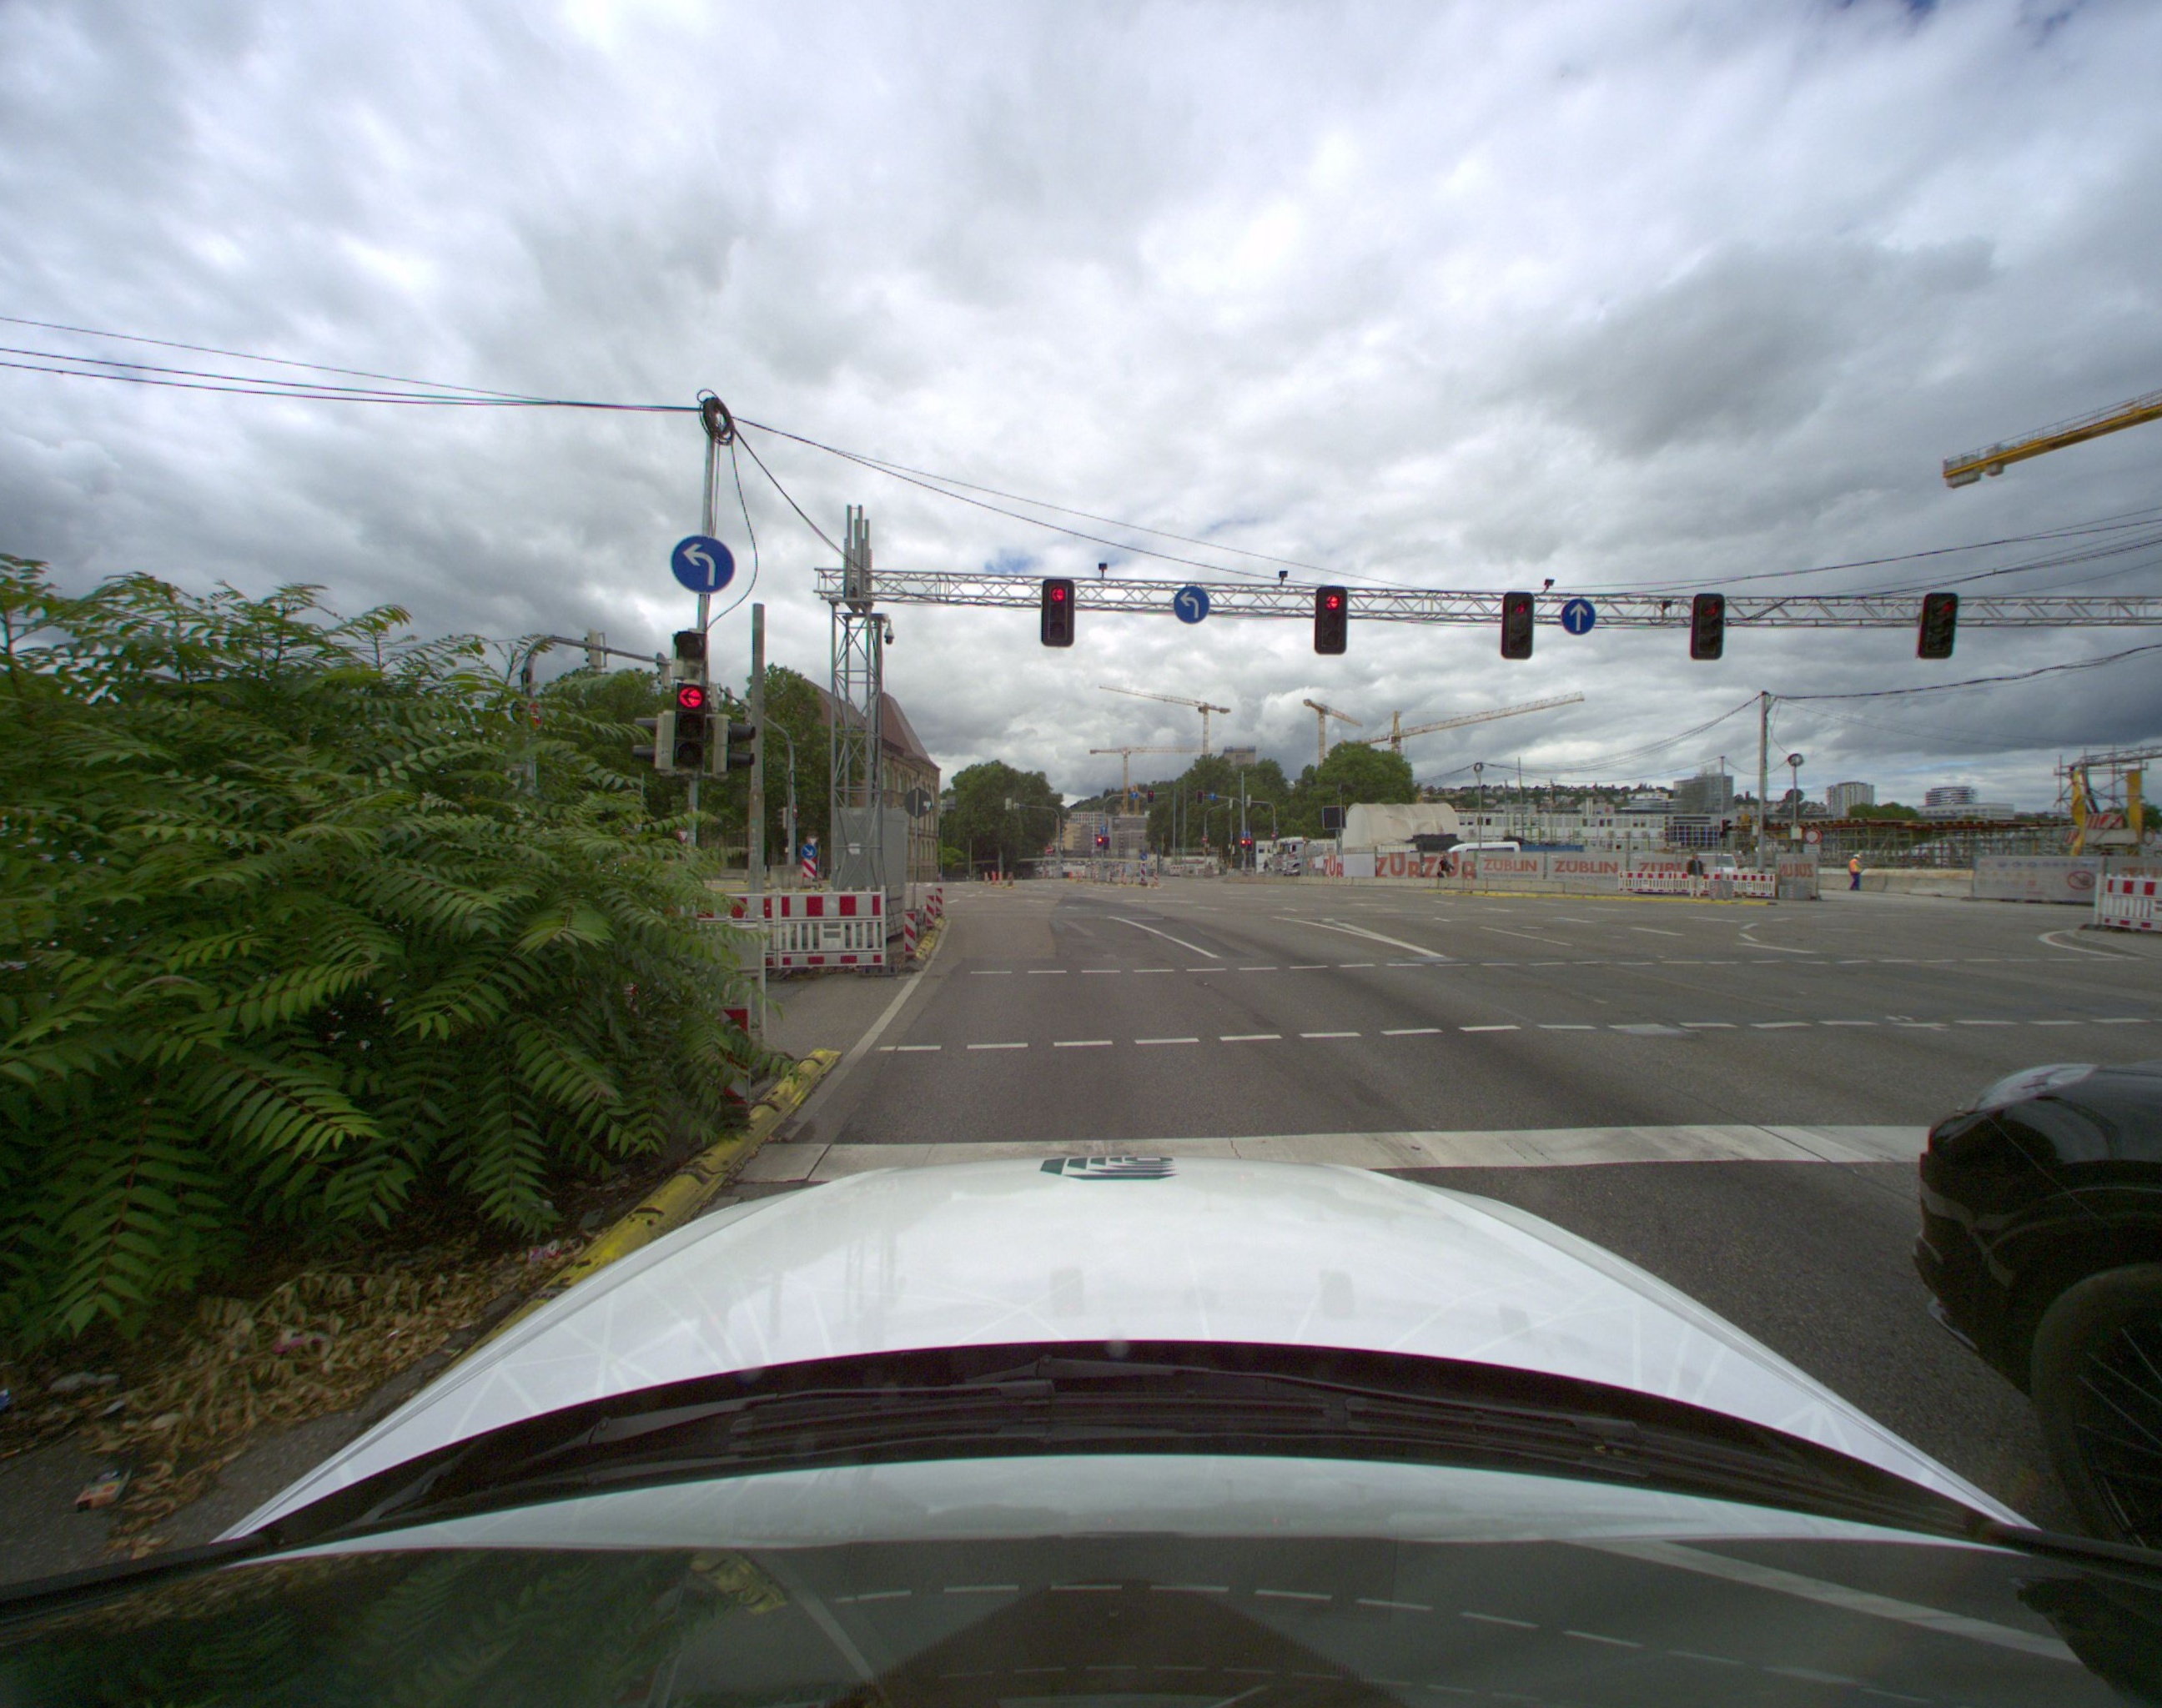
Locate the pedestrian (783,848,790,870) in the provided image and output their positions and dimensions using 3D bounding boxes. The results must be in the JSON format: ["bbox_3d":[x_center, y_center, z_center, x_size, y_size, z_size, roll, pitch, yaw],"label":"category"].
[{"bbox_3d":[-26.855,0.421,74.251,0.530,2.014,0.423,1,-1,-42],"label":"pedestrian"}]

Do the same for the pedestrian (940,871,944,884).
[{"bbox_3d":[-21.100,3.583,123.415,0.522,2.014,0.567,0,0,2],"label":"pedestrian"}]

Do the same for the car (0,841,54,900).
[{"bbox_3d":[-32.918,0.464,23.303,4.302,1.676,1.998,0,0,-3],"label":"car"}]

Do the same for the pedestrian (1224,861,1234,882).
[{"bbox_3d":[12.244,1.431,67.331,0.726,1.689,0.678,0,0,1],"label":"pedestrian"}]

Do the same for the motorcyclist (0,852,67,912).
[{"bbox_3d":[-25.620,0.667,19.792,0.963,1.423,0.745,0,0,-4],"label":"motorcyclist"}]

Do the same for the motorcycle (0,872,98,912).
[{"bbox_3d":[-25.474,0.920,19.807,2.051,0.924,0.756,0,0,-4],"label":"motorcycle"}]

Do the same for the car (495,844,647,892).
[{"bbox_3d":[-18.822,0.502,30.245,4.315,1.676,1.992,0,0,-12],"label":"car"}]

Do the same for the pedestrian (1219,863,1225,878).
[{"bbox_3d":[15.335,1.797,88.820,0.564,1.689,0.472,0,0,1],"label":"pedestrian"}]

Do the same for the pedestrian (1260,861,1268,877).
[{"bbox_3d":[19.934,1.595,88.636,0.615,1.689,0.716,0,0,31],"label":"pedestrian"}]

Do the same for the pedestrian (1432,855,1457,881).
[{"bbox_3d":[19.409,0.749,43.492,0.802,1.378,0.896,0,0,-31],"label":"pedestrian"}]

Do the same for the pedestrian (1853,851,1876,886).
[{"bbox_3d":[38.966,0.715,40.511,0.651,1.717,0.516,0,0,-9],"label":"pedestrian"}]

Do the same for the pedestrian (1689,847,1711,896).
[{"bbox_3d":[25.642,0.734,33.755,0.645,2.013,0.520,0,0,27],"label":"pedestrian"}]

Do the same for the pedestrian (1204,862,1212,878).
[{"bbox_3d":[13.754,1.691,88.238,0.726,1.689,0.678,0,0,1],"label":"pedestrian"}]

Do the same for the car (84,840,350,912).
[{"bbox_3d":[-21.298,0.528,20.249,4.302,1.676,1.998,0,0,-3],"label":"car"}]

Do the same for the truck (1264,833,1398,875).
[{"bbox_3d":[25.030,-0.031,81.588,13.062,4.041,3.926,0,0,-18],"label":"truck"}]

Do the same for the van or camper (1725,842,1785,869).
[{"bbox_3d":[72.076,0.157,87.141,5.282,2.911,1.993,0,-1,-10],"label":"van or camper"}]

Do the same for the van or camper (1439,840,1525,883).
[{"bbox_3d":[23.147,0.420,47.202,4.181,2.357,2.009,0,0,16],"label":"van or camper"}]

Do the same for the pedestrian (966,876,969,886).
[{"bbox_3d":[-21.521,5.105,154.583,0.522,2.014,0.567,0,0,2],"label":"pedestrian"}]

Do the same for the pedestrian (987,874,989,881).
[{"bbox_3d":[-20.484,5.210,179.062,0.534,1.592,0.515,0,0,-2],"label":"pedestrian"}]
